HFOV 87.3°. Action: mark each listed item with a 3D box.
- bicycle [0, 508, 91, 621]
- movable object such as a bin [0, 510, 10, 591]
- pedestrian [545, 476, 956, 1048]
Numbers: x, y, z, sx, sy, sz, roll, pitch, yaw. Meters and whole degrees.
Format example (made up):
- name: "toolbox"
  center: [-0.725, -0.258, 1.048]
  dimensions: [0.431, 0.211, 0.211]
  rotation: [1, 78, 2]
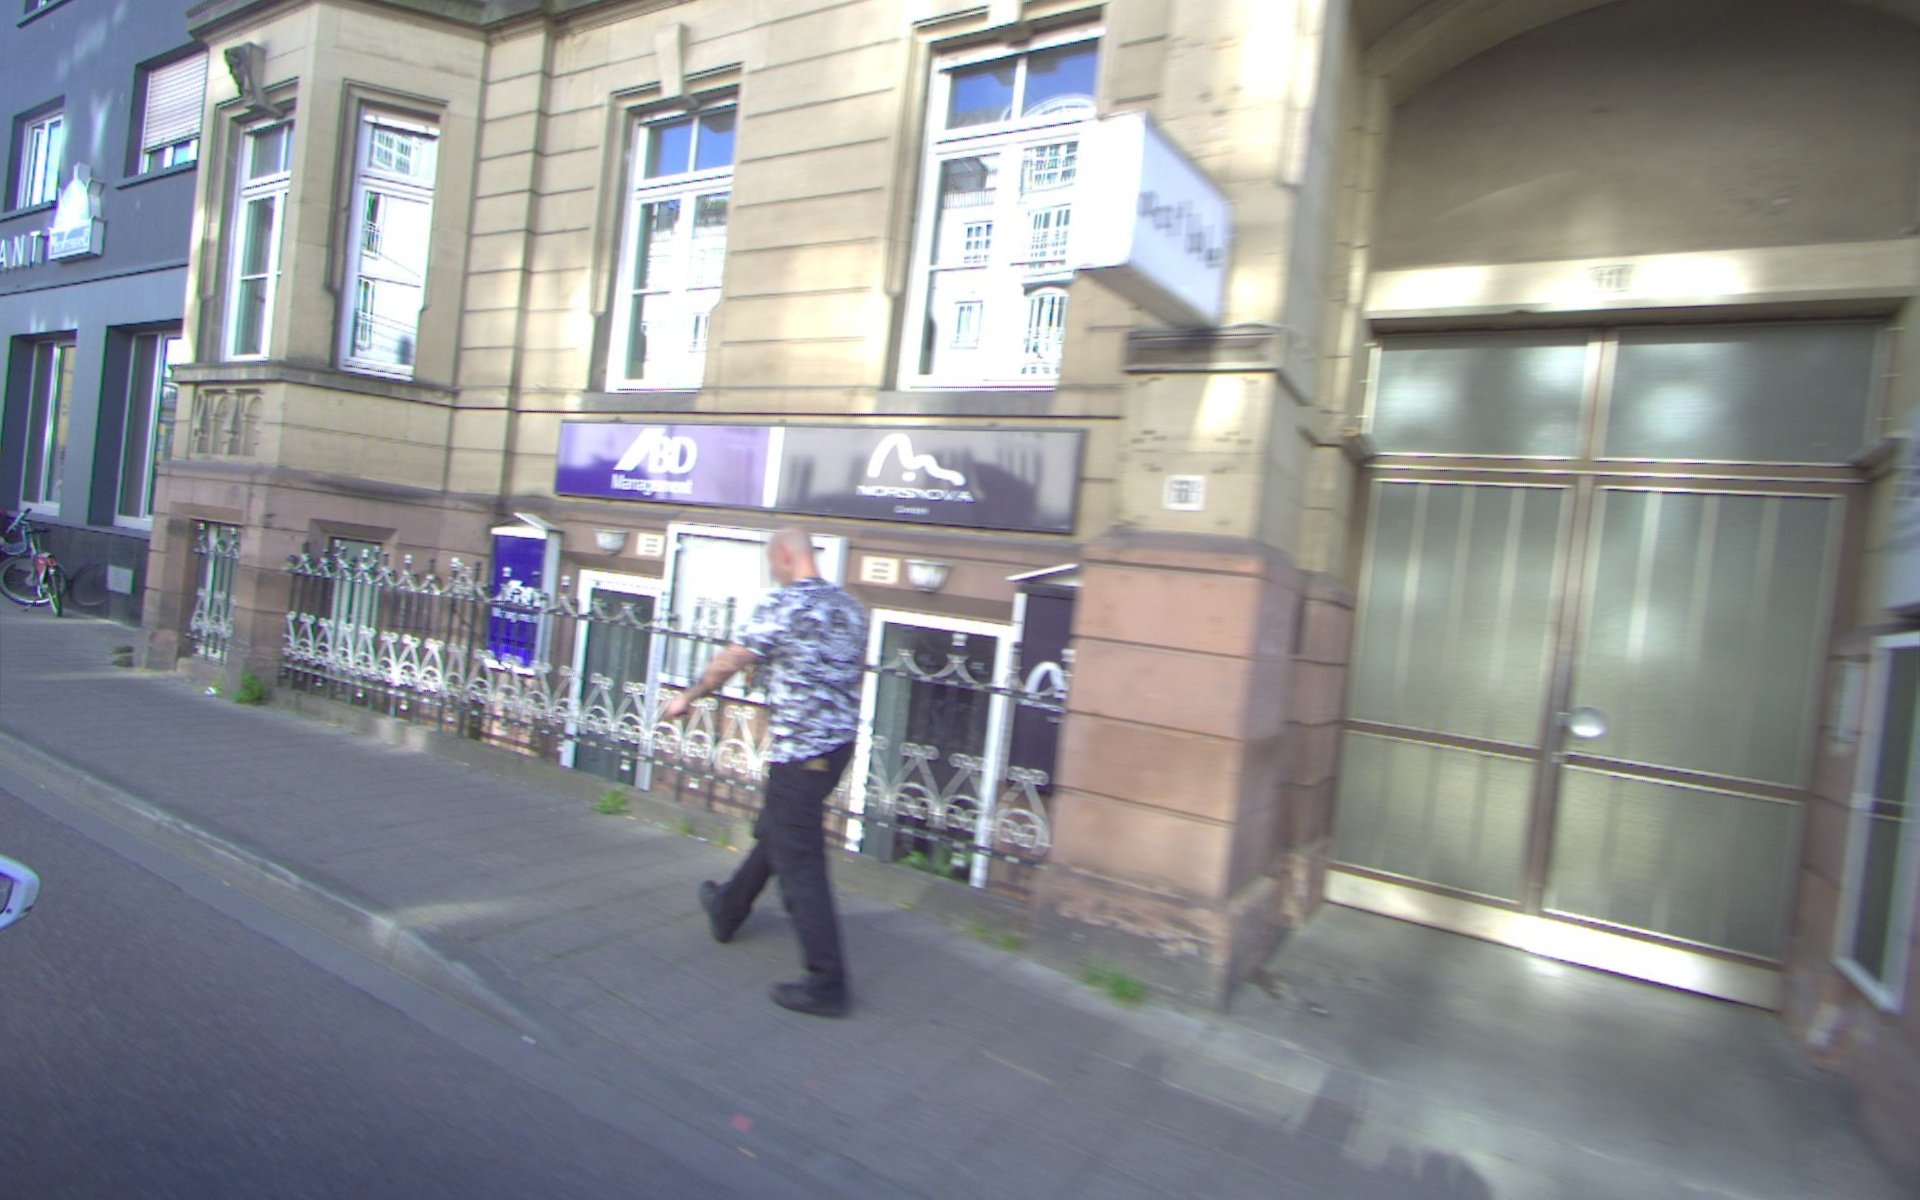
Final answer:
- name: "bicycle"
  center: [-10.522, -0.424, 11.428]
  dimensions: [1.744, 1.138, 0.459]
  rotation: [7, 3, 32]
- name: "movable object such as a bin"
  center: [-12.935, -0.670, 13.033]
  dimensions: [0.741, 1.051, 0.747]
  rotation: [7, 5, 32]
- name: "pedestrian"
  center: [-0.782, 0.514, 3.805]
  dimensions: [1.074, 1.772, 0.781]
  rotation: [9, 2, 29]
